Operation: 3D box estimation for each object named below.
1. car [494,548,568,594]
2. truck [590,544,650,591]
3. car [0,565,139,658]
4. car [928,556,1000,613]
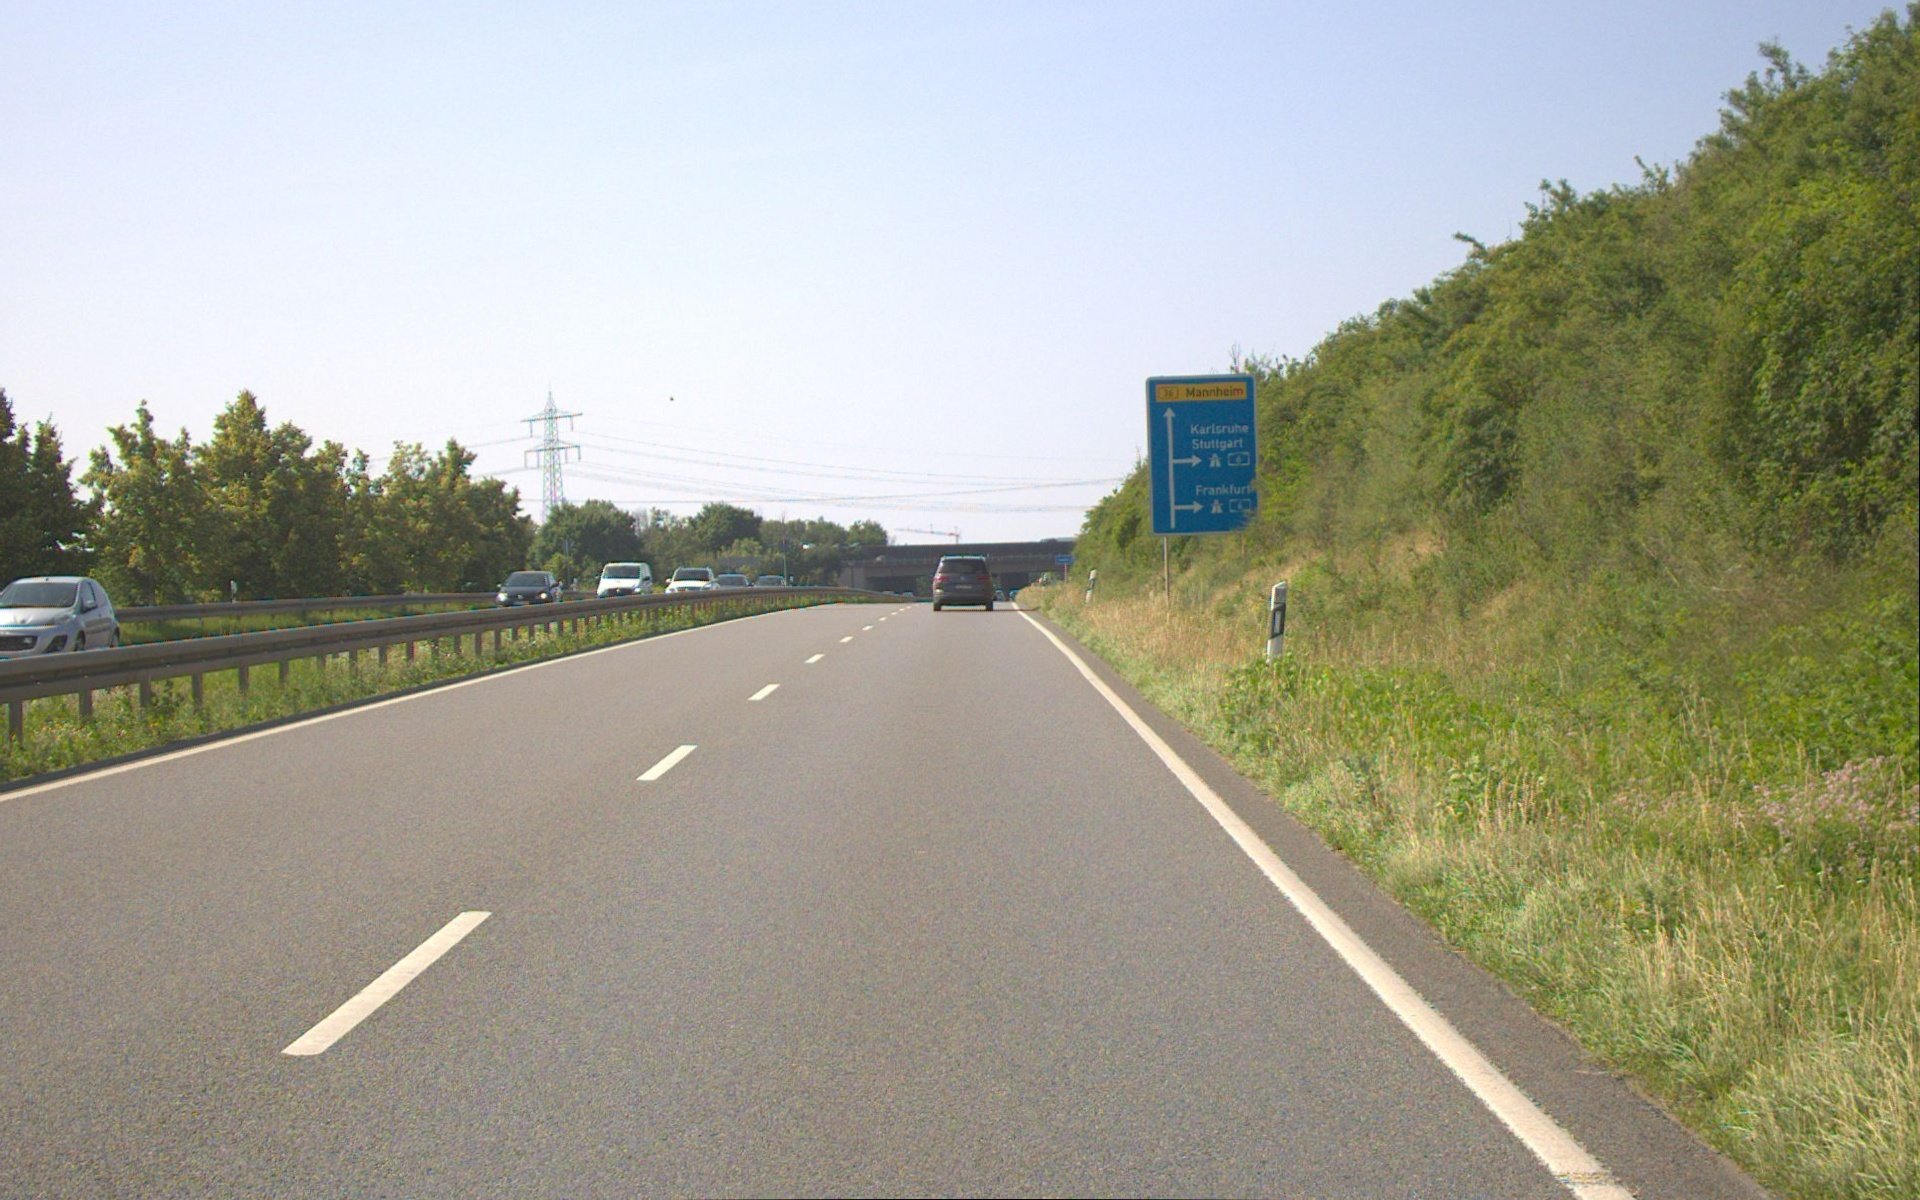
[{"bbox_3d":[-14.047,-0.970,112.654,1.839,1.467,4.459,-1,1,0],"label":"car"},{"bbox_3d":[-13.968,-1.356,141.437,1.922,1.834,5.292,0,1,0],"label":"truck"},{"bbox_3d":[-14.686,0.164,56.032,1.690,1.432,3.940,0,1,0],"label":"car"},{"bbox_3d":[0.139,-0.446,101.800,1.850,1.639,3.999,-1,0,3],"label":"car"}]
